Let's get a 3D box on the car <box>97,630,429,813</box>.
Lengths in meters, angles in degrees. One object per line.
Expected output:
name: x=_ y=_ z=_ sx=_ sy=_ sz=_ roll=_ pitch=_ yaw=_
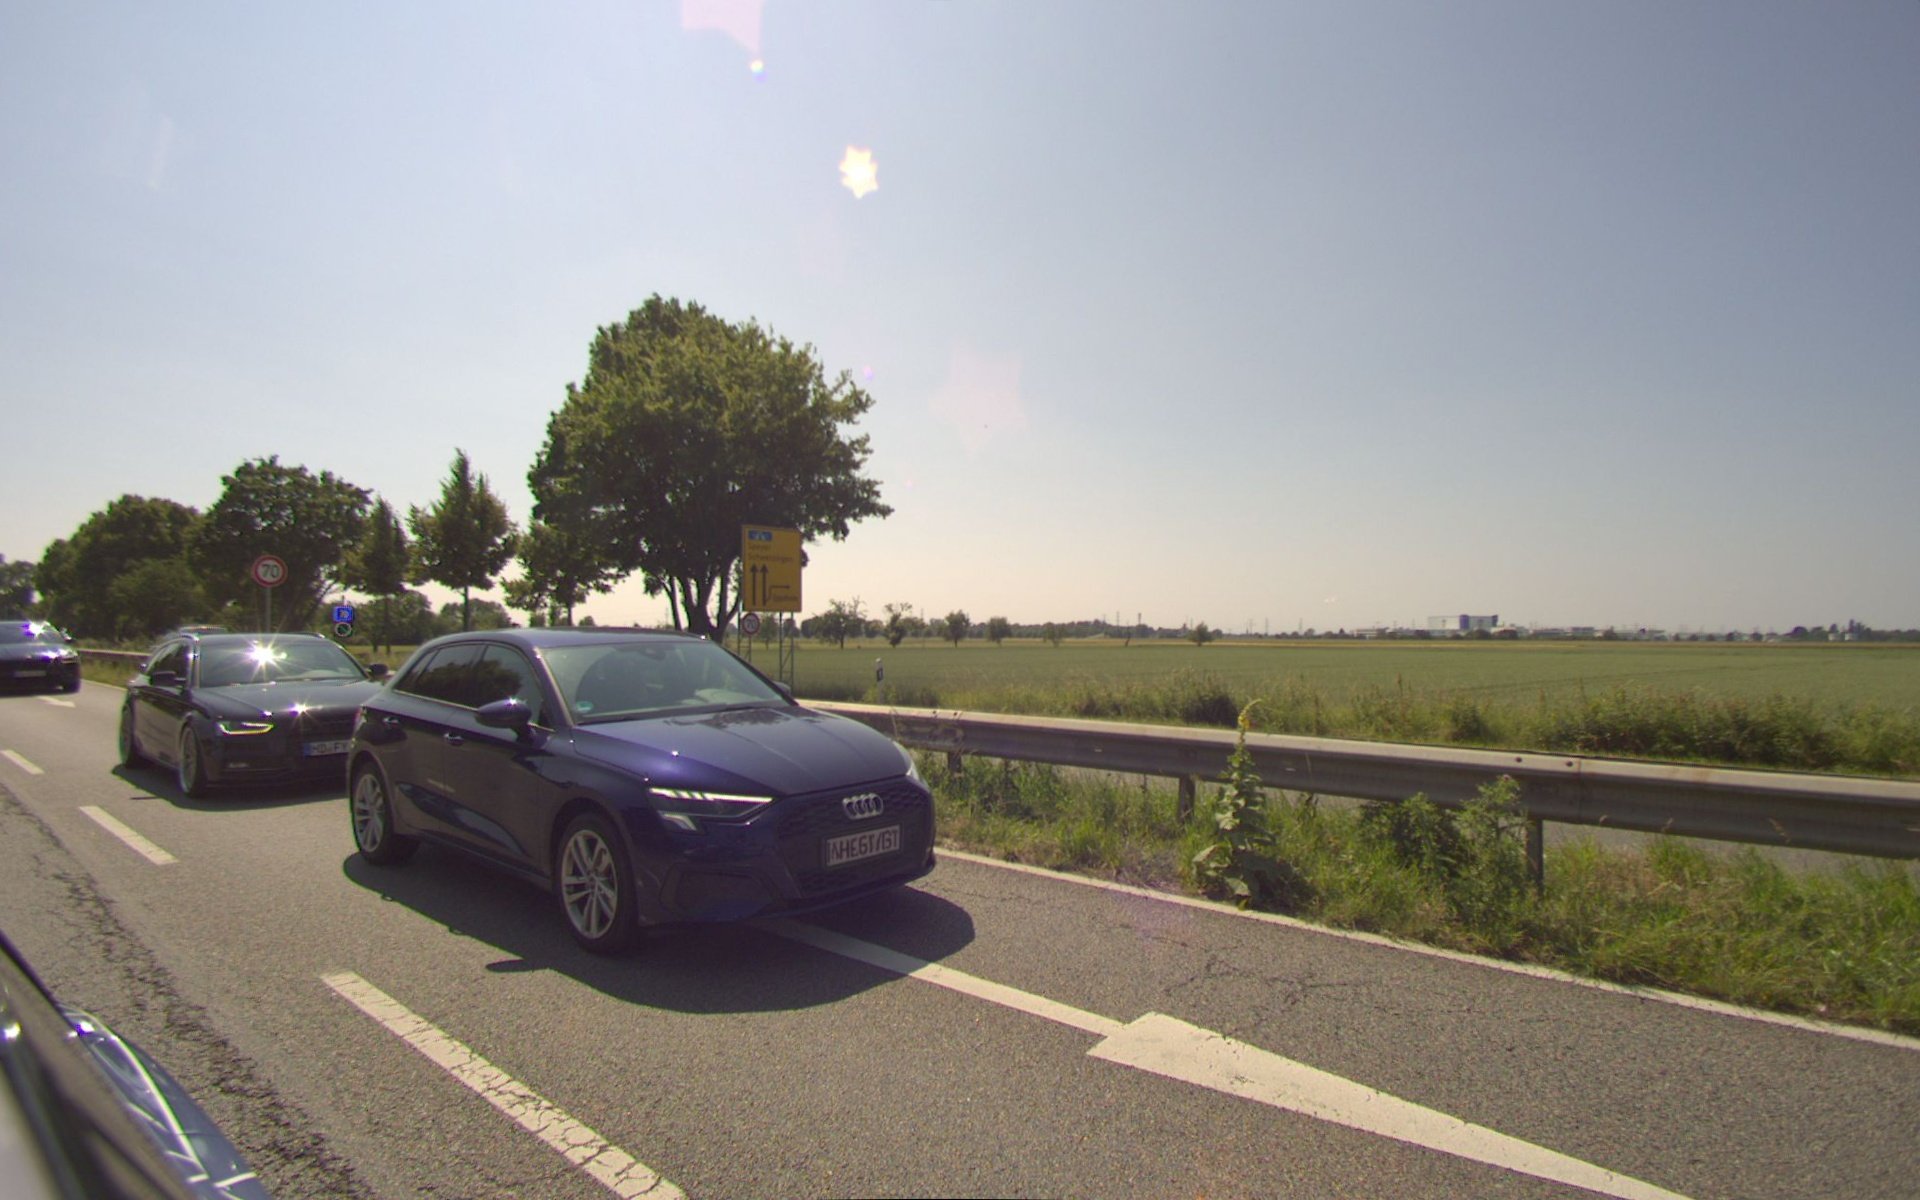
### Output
car: x=-7.074 y=1.022 z=10.063 sx=4.453 sy=1.391 sz=1.722 roll=-2 pitch=-1 yaw=42

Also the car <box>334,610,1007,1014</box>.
car: x=-1.850 y=0.832 z=5.687 sx=4.027 sy=1.476 sz=1.699 roll=-2 pitch=-1 yaw=40

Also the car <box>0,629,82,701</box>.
car: x=-21.719 y=1.442 z=23.169 sx=4.097 sy=1.527 sz=1.836 roll=-2 pitch=-1 yaw=40

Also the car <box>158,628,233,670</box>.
car: x=-37.661 y=2.388 z=49.819 sx=4.827 sy=1.966 sz=1.973 roll=-2 pitch=-3 yaw=41

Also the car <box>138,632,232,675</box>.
car: x=-28.439 y=1.924 z=37.086 sx=4.502 sy=1.465 sz=1.859 roll=-2 pitch=-3 yaw=41
